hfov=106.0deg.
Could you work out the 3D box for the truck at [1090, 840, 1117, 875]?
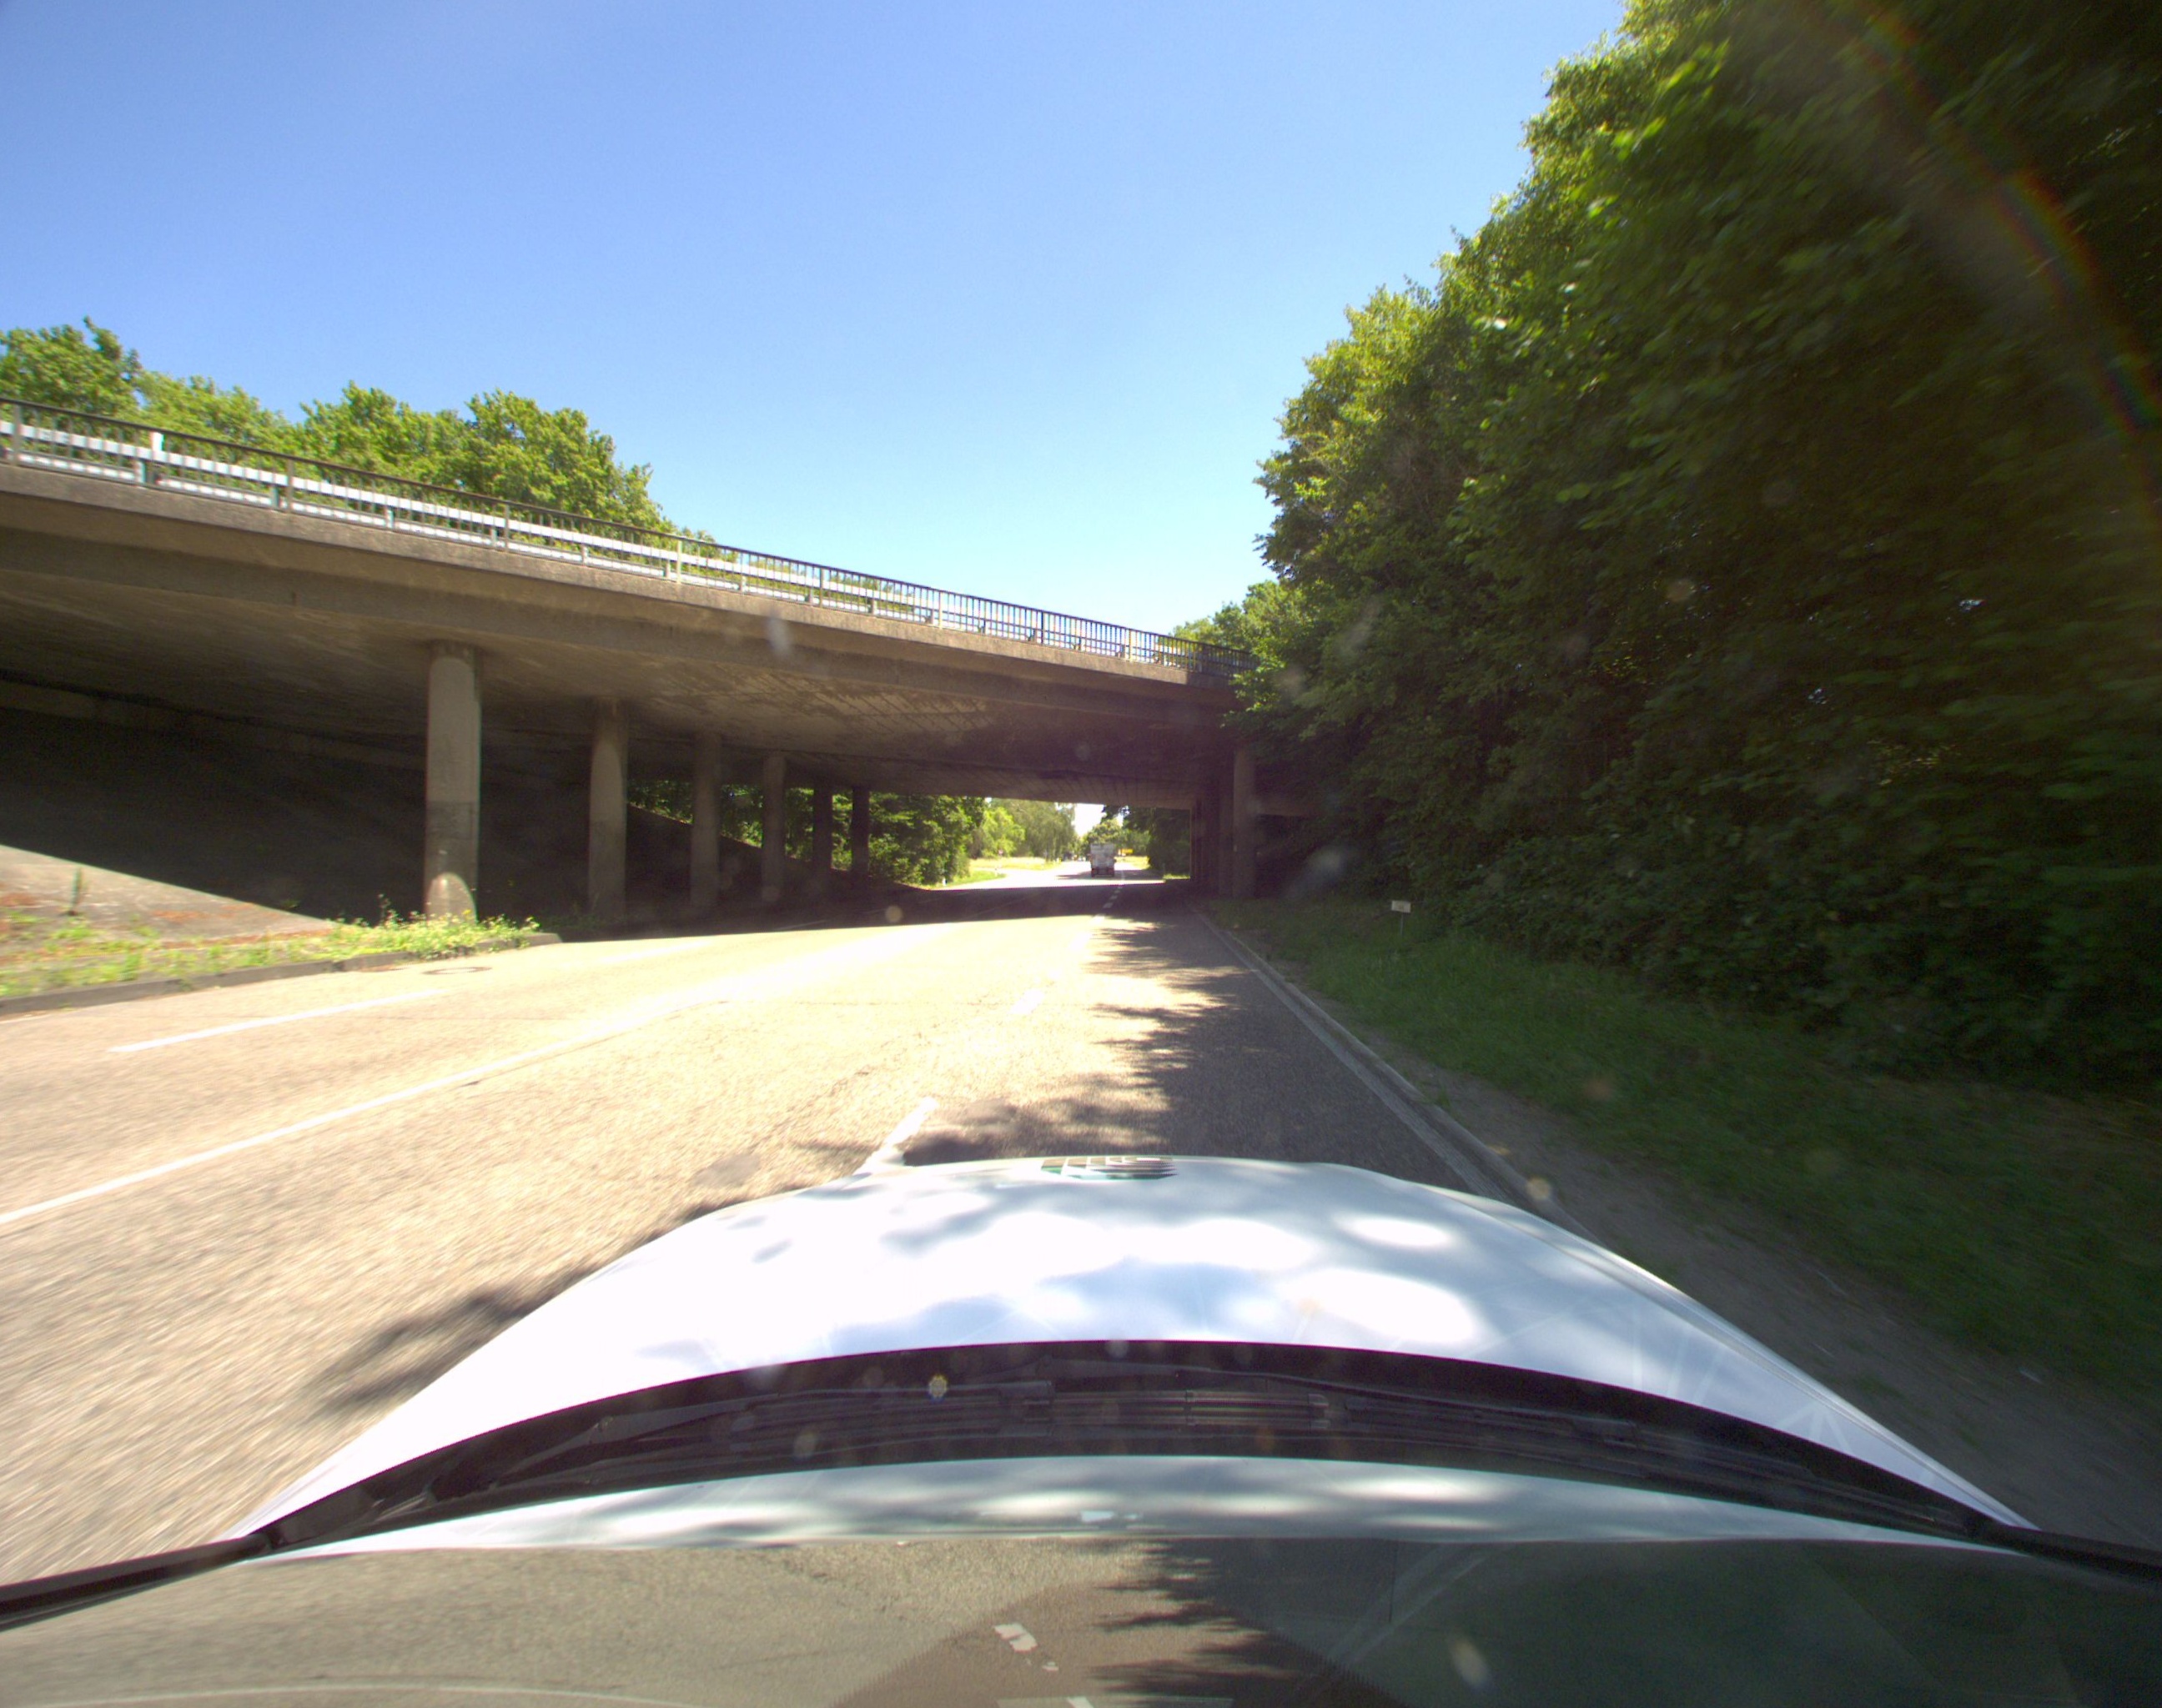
[{"bbox_3d":[2.045,0.364,72.036,2.231,2.985,5.899,0,-1,3],"label":"truck"}]
